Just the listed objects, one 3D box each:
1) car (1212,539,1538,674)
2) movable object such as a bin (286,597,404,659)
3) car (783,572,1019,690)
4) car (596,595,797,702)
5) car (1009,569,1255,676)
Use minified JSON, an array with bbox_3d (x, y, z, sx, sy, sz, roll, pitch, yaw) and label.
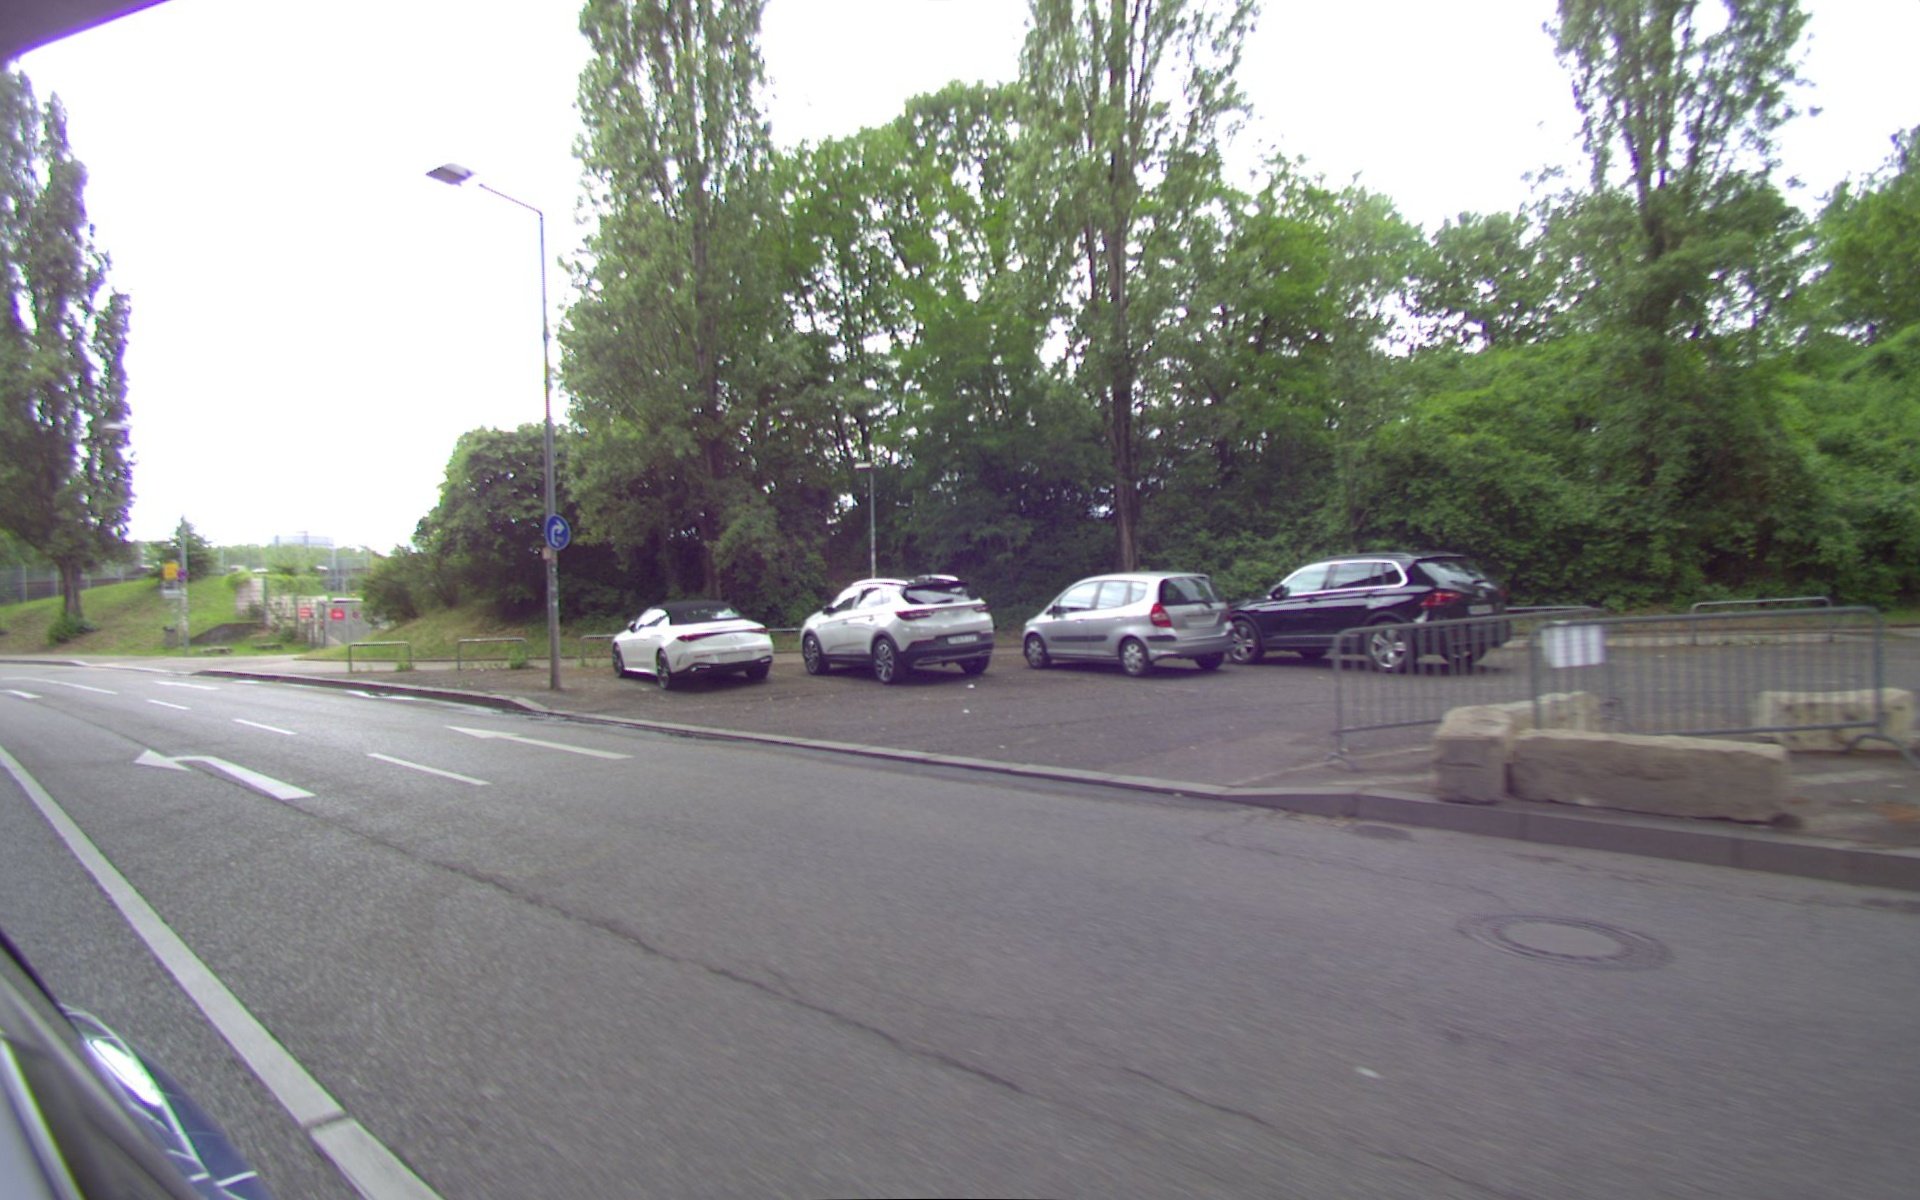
[{"bbox_3d":[5.951,0.086,15.029,1.831,1.704,4.176,-2,0,-31],"label":"car"},{"bbox_3d":[-28.182,1.274,46.469,4.168,2.743,2.029,0,-2,-3],"label":"movable object such as a bin"},{"bbox_3d":[-1.150,0.430,17.157,1.967,1.594,4.412,-6,3,-33],"label":"car"},{"bbox_3d":[-4.961,0.747,18.492,1.967,1.490,4.841,-5,4,-34],"label":"car"},{"bbox_3d":[2.567,0.322,15.938,1.762,1.465,3.758,-1,0,-31],"label":"car"}]
